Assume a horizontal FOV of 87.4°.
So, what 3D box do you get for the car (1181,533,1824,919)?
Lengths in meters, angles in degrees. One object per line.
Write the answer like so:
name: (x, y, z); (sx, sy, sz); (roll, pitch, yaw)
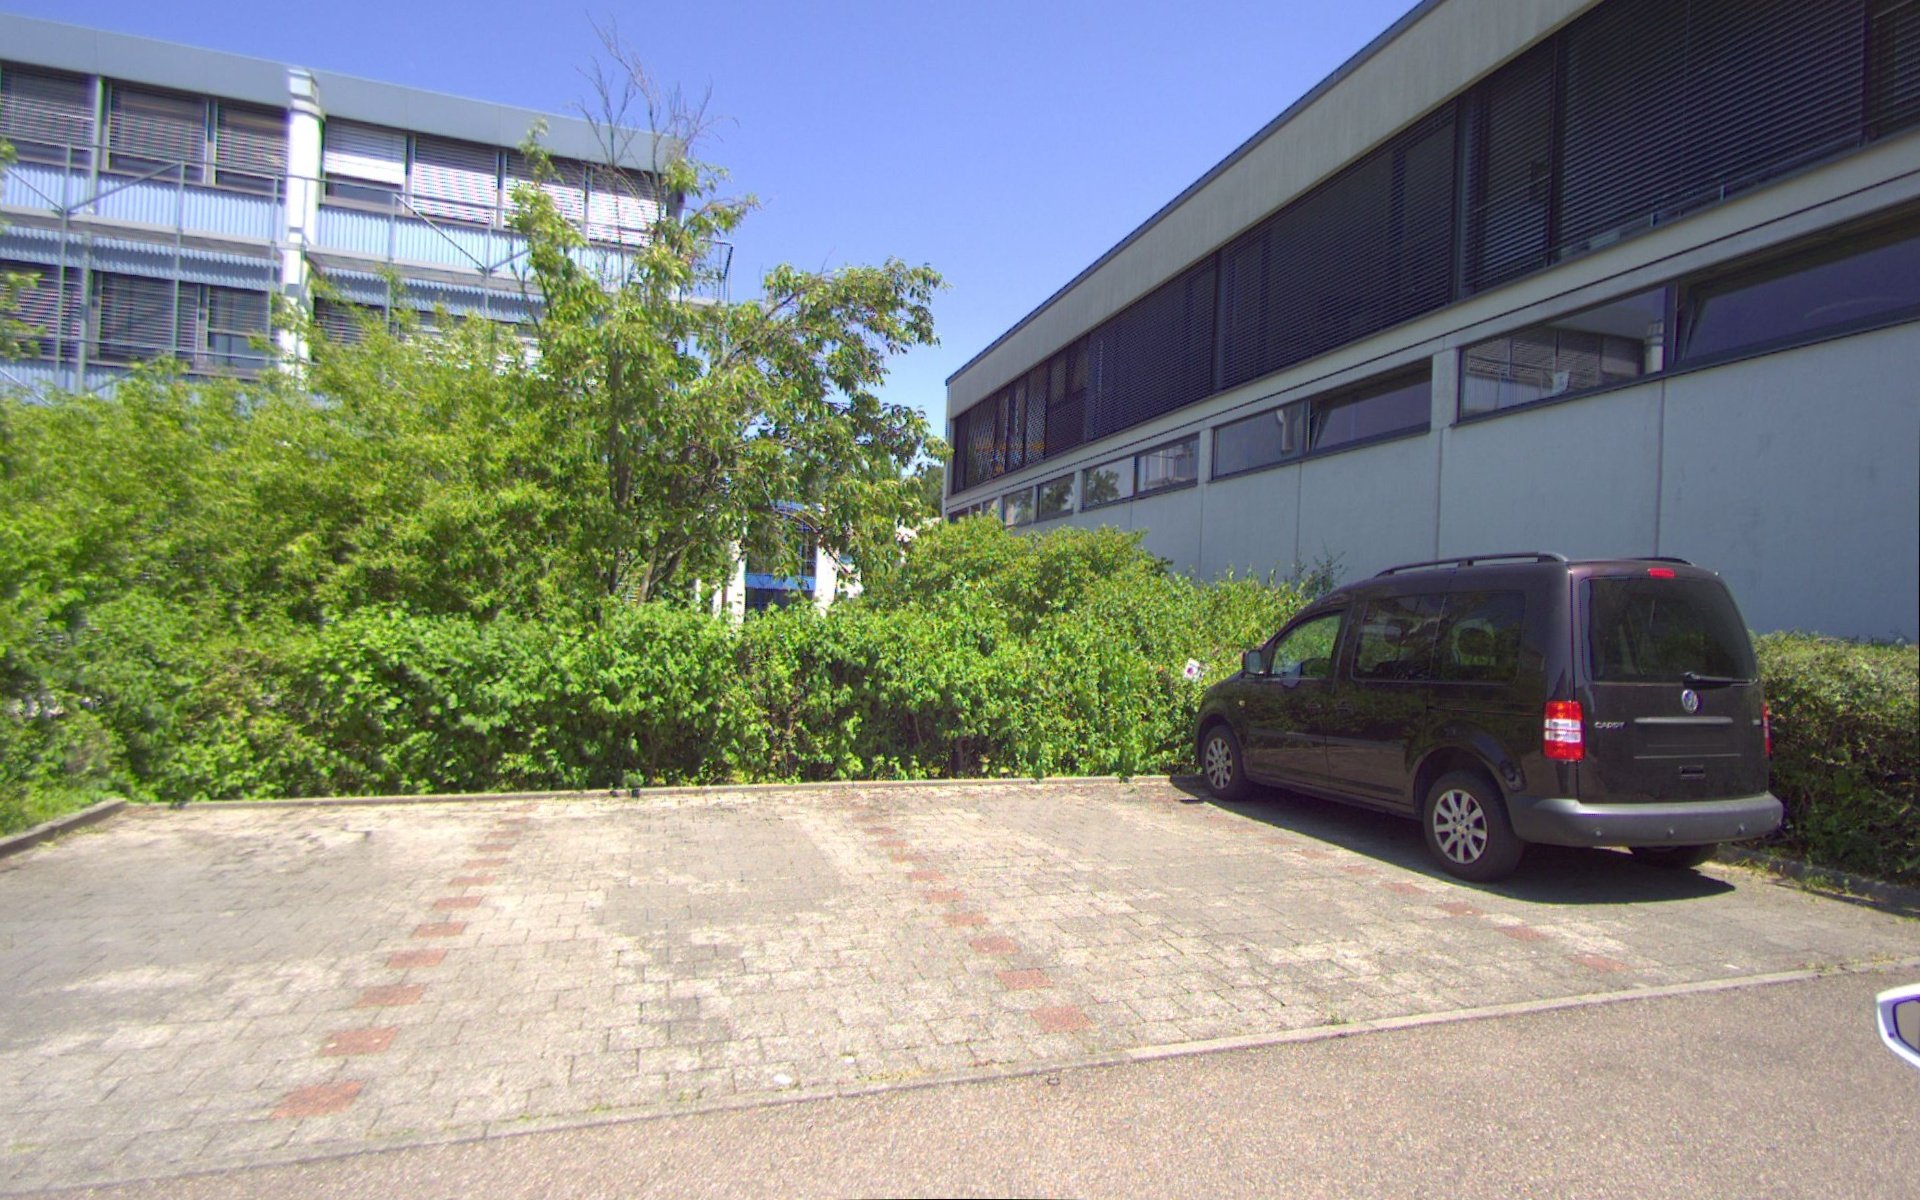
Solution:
car: (3.319, 0.654, 7.159); (1.651, 1.909, 4.057); (2, -1, -16)
